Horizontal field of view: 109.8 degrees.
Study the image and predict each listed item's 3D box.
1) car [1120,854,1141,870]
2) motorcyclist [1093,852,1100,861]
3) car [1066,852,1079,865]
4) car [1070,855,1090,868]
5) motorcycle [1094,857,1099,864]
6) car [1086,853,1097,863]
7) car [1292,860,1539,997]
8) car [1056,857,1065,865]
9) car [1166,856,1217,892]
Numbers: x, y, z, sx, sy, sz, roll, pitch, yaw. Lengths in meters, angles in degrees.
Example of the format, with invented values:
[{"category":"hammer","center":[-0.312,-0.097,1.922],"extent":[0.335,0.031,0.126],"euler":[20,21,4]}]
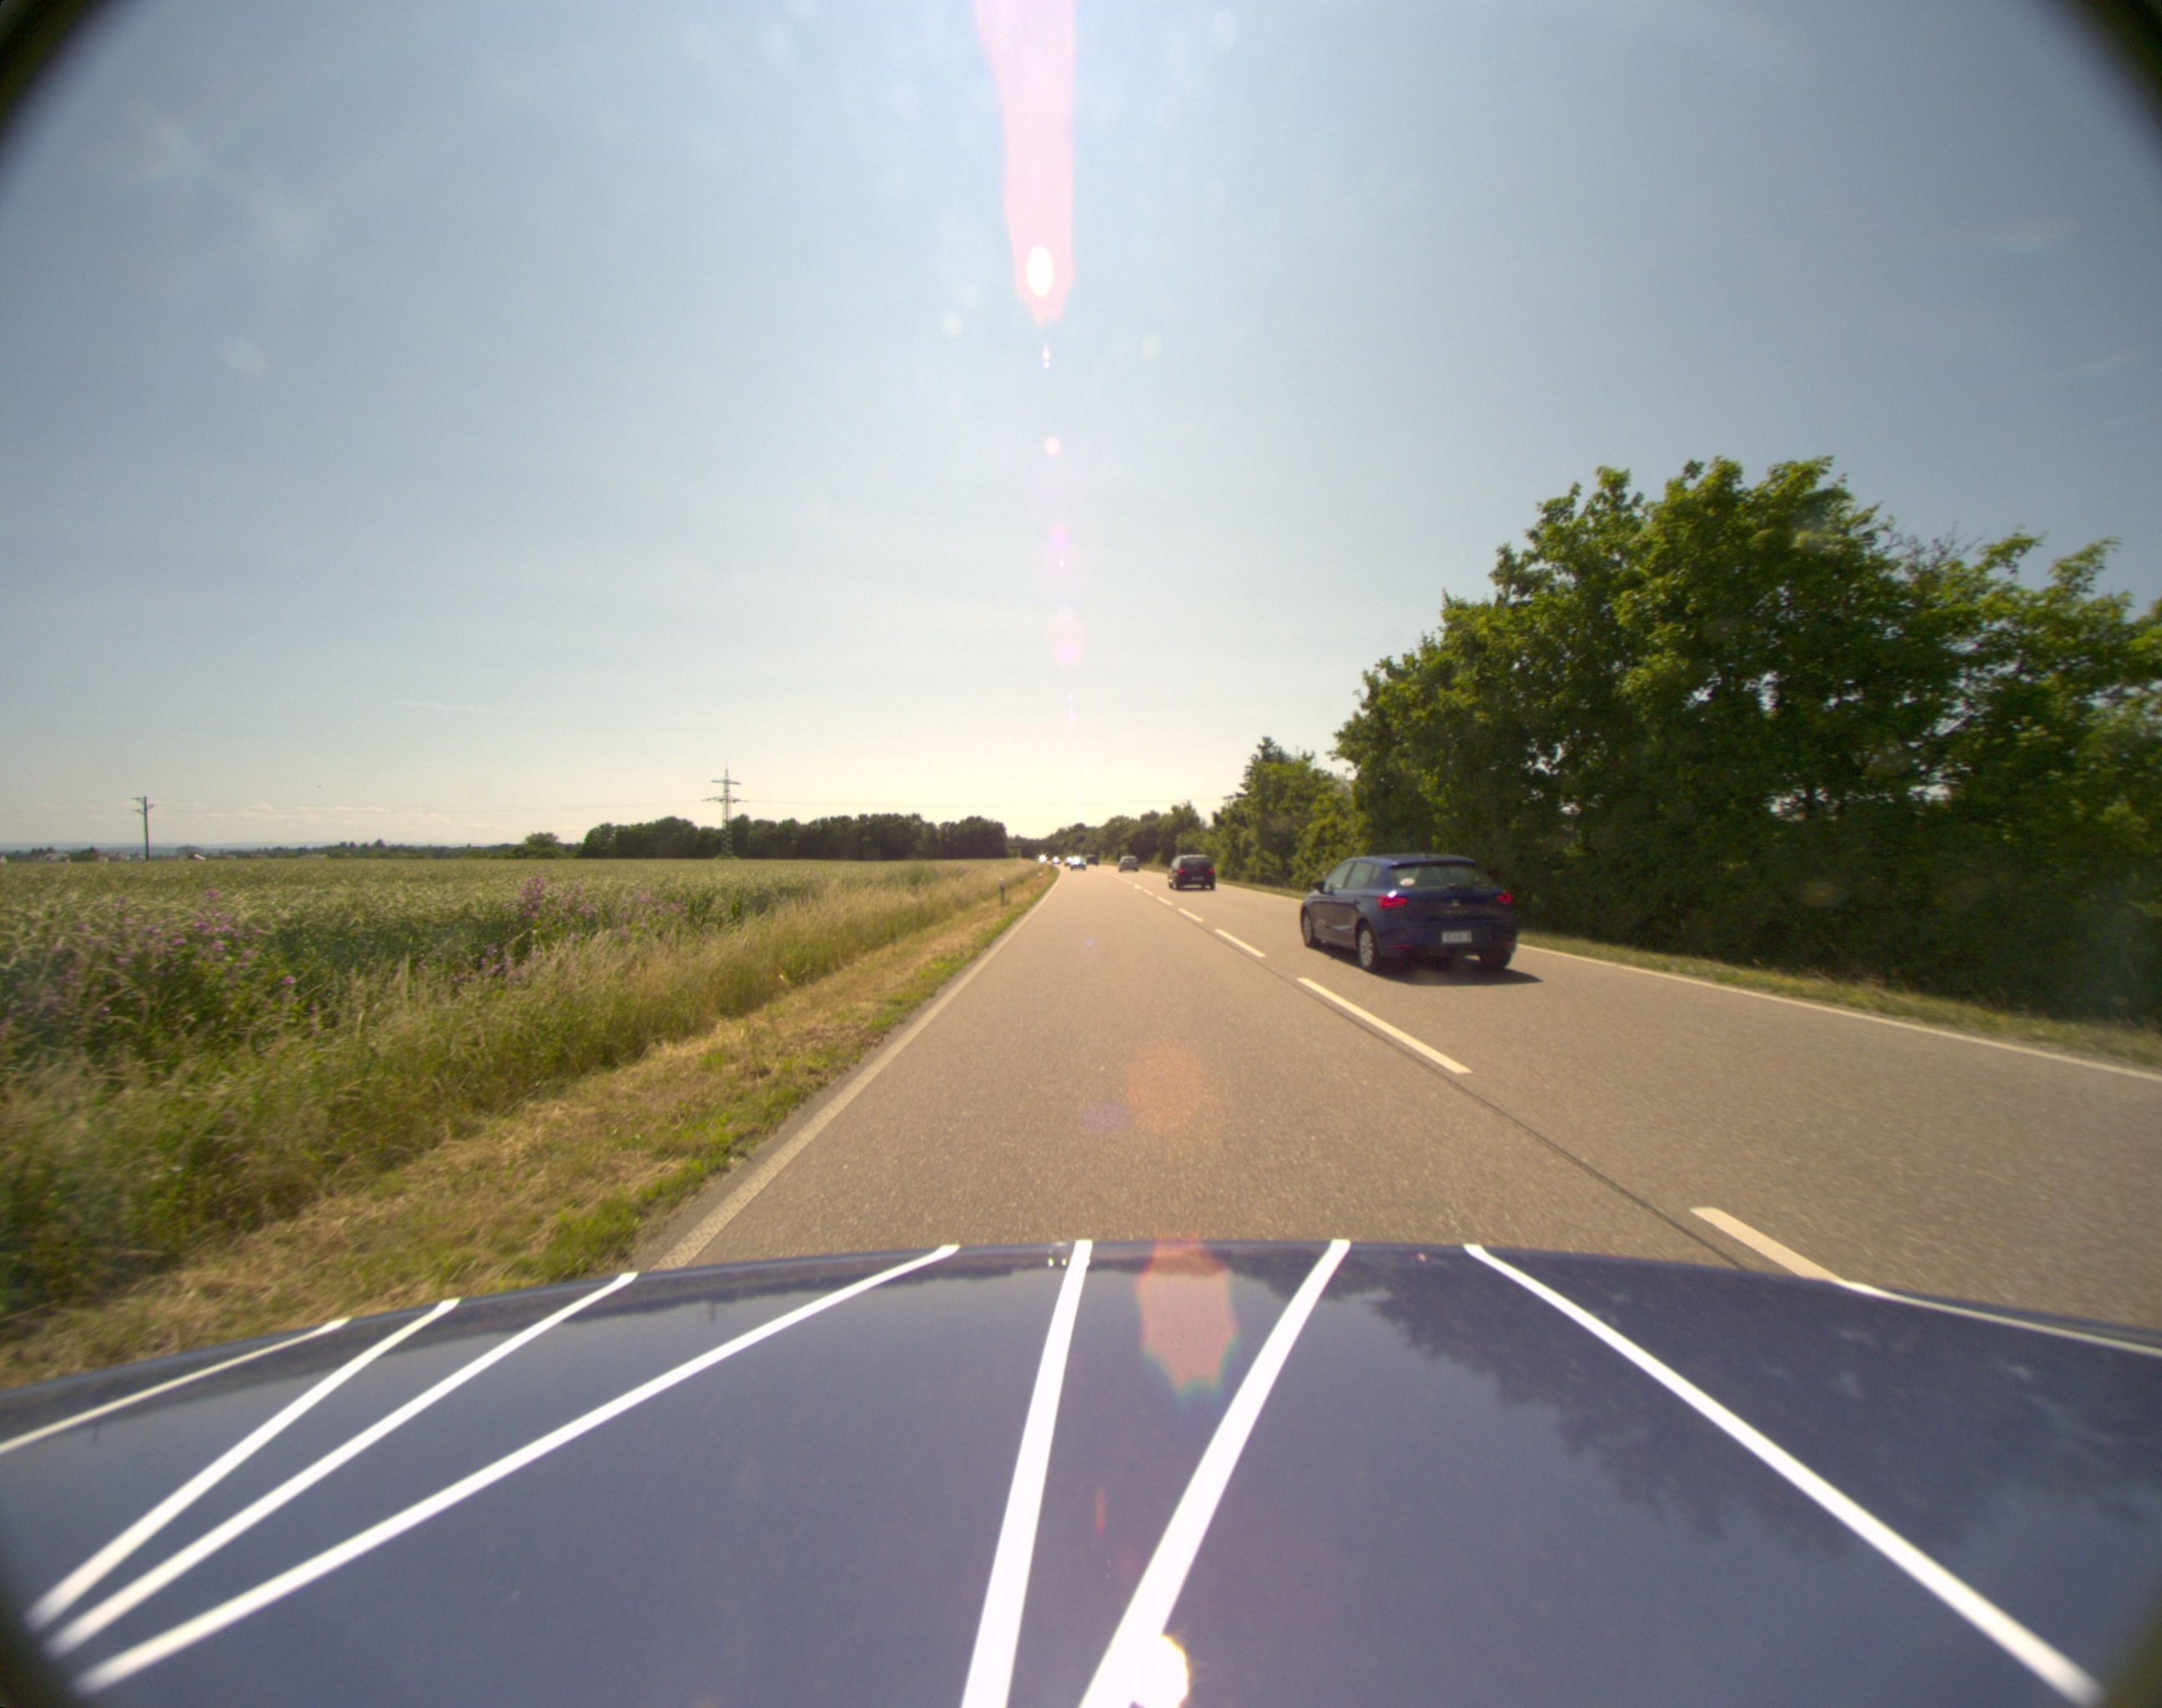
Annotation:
[{"category":"car","center":[4.602,0.697,71.273],"extent":[1.711,1.373,3.819],"euler":[-2,0,0]},{"category":"motorcyclist","center":[2.424,0.357,119.571],"extent":[0.837,1.466,1.817],"euler":[-1,0,-2]},{"category":"car","center":[-1.355,0.714,123.403],"extent":[1.999,2.002,3.999],"euler":[-1,0,-1]},{"category":"car","center":[-0.185,0.827,86.321],"extent":[1.694,1.431,3.707],"euler":[-2,0,-9]},{"category":"motorcycle","center":[2.421,0.964,119.474],"extent":[0.618,1.102,2.022],"euler":[-2,0,-3]},{"category":"car","center":[1.820,0.720,135.089],"extent":[1.823,1.691,5.000],"euler":[0,0,-1]},{"category":"car","center":[4.198,0.834,10.280],"extent":[1.656,1.398,4.000],"euler":[-2,0,2]},{"category":"car","center":[-4.452,1.523,165.357],"extent":[1.554,1.659,3.997],"euler":[-2,1,-6]},{"category":"car","center":[4.684,0.814,32.801],"extent":[1.601,1.433,4.000],"euler":[-1,0,0]}]
